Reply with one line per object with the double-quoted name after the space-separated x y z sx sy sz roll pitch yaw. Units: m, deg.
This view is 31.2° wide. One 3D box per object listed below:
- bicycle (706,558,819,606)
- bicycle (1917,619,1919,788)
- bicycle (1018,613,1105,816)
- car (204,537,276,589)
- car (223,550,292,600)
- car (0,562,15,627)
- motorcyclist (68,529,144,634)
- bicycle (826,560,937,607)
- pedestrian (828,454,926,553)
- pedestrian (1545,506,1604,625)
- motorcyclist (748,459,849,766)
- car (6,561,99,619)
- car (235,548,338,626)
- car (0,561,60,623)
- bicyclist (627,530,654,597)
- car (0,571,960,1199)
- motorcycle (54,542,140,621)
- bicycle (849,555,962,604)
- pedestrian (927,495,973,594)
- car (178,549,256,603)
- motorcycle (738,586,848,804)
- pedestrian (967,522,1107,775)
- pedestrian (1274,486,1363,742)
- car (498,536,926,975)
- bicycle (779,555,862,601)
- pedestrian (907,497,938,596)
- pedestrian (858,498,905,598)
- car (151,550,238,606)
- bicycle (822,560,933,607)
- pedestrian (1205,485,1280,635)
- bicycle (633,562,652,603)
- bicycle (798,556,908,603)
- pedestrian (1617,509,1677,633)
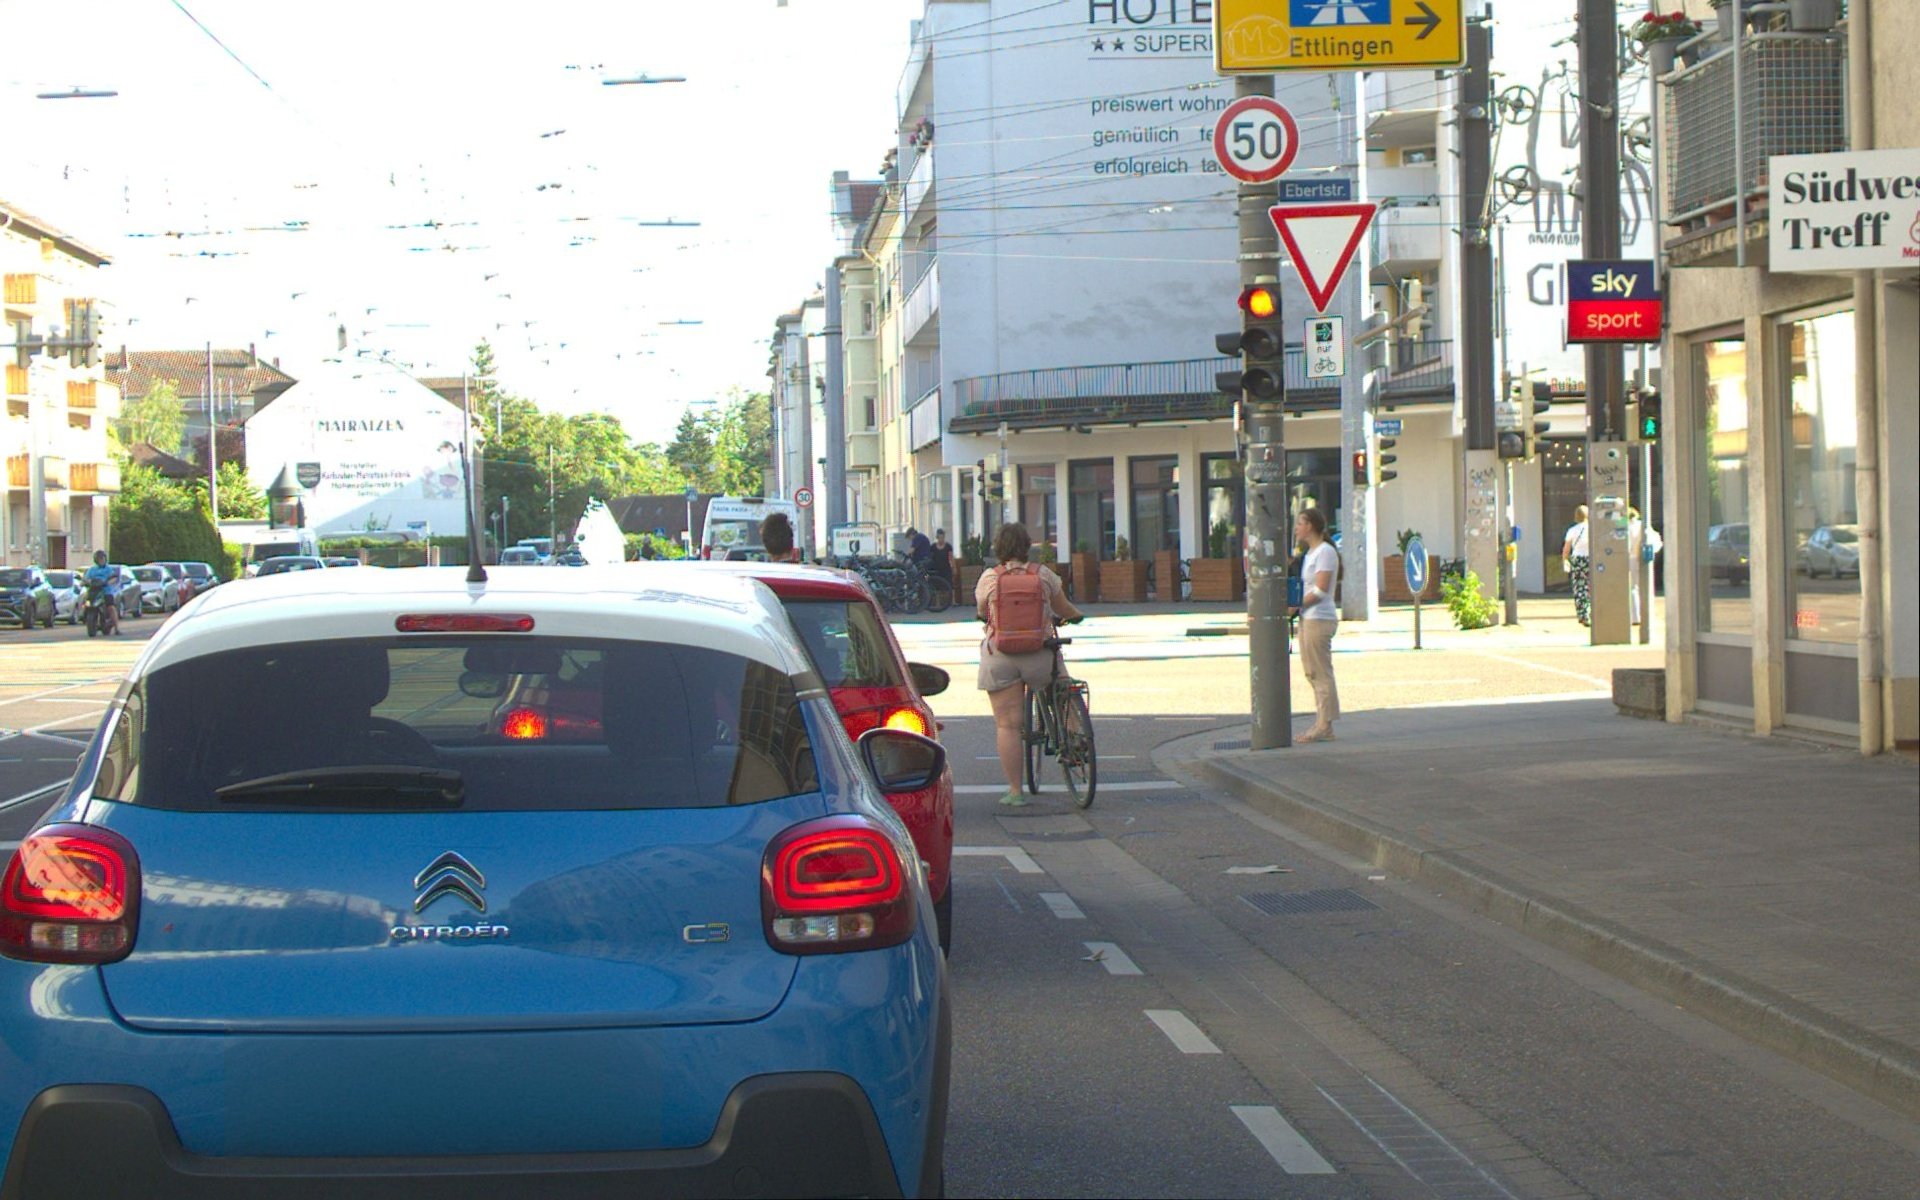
-3.809 -0.349 66.207 2.132 0.898 0.367 1 0 -9 "bicycle"
4.904 0.420 15.724 0.542 0.995 1.706 1 1 -1 "bicycle"
0.594 0.654 20.539 0.427 1.119 1.998 1 1 -1 "bicycle"
-24.394 -1.255 116.620 1.833 1.681 4.001 1 1 -4 "car"
-24.749 -0.890 121.247 1.846 1.681 3.875 1 1 -4 "car"
-23.219 -0.133 79.275 1.787 1.506 4.150 1 1 -2 "car"
-16.693 -0.364 67.216 1.185 2.007 1.276 -1 1 -3 "motorcyclist"
-1.531 -0.327 67.206 2.132 0.898 0.367 1 0 -9 "bicycle"
-1.749 -2.034 73.525 1.993 2.007 4.000 1 1 -1 "pedestrian"
8.394 -0.470 46.940 0.736 1.595 0.748 1 0 13 "pedestrian"
-0.917 0.067 19.614 0.526 1.710 0.717 1 0 -1 "motorcyclist"
-24.297 -0.278 92.150 1.732 1.493 4.001 1 1 -5 "car"
-14.949 -0.306 76.437 1.774 1.660 3.857 1 1 -4 "car"
-23.838 -0.219 86.064 1.785 1.493 4.001 1 1 -4 "car"
-7.025 -0.800 75.682 0.561 1.472 0.748 1 0 -4 "bicyclist"
-0.857 0.673 7.160 1.654 1.439 3.523 1 1 -1 "car"
-16.725 -0.364 66.722 0.923 1.481 3.726 1 1 -3 "motorcycle"
-1.050 -0.394 66.004 2.132 0.898 0.367 1 0 -9 "bicycle"
-0.202 -1.131 70.517 0.709 2.007 0.760 1 0 -19 "pedestrian"
-24.050 -0.781 111.354 1.882 1.681 4.001 1 1 -4 "car"
-0.925 0.502 19.431 0.526 1.136 2.290 1 1 -1 "motorcycle"
0.446 0.278 20.226 0.777 1.455 0.682 1 0 -1 "pedestrian"
2.528 0.095 24.290 0.517 1.777 0.595 1 0 -2 "pedestrian"
-0.860 0.517 13.156 1.424 1.462 2.924 -1 0 -1 "car"
-2.821 -0.440 69.432 1.785 0.898 0.366 1 1 34 "bicycle"
-0.761 -1.086 70.290 0.577 2.007 0.626 1 0 -3 "pedestrian"
-1.579 -1.046 69.154 0.630 2.007 0.724 1 0 -36 "pedestrian"
-23.602 -0.688 106.092 1.983 1.681 4.001 1 1 -3 "car"
-1.619 -0.325 67.631 2.132 0.898 0.367 1 0 -9 "bicycle"
3.847 -0.546 46.931 0.926 2.007 0.759 1 0 -1 "pedestrian"
-6.975 -0.387 75.611 0.349 0.900 1.859 1 1 -4 "bicycle"
-2.130 -0.407 68.312 2.132 0.898 0.367 1 0 -9 "bicycle"
9.357 -0.396 46.782 0.752 1.652 0.883 1 0 13 "pedestrian"
